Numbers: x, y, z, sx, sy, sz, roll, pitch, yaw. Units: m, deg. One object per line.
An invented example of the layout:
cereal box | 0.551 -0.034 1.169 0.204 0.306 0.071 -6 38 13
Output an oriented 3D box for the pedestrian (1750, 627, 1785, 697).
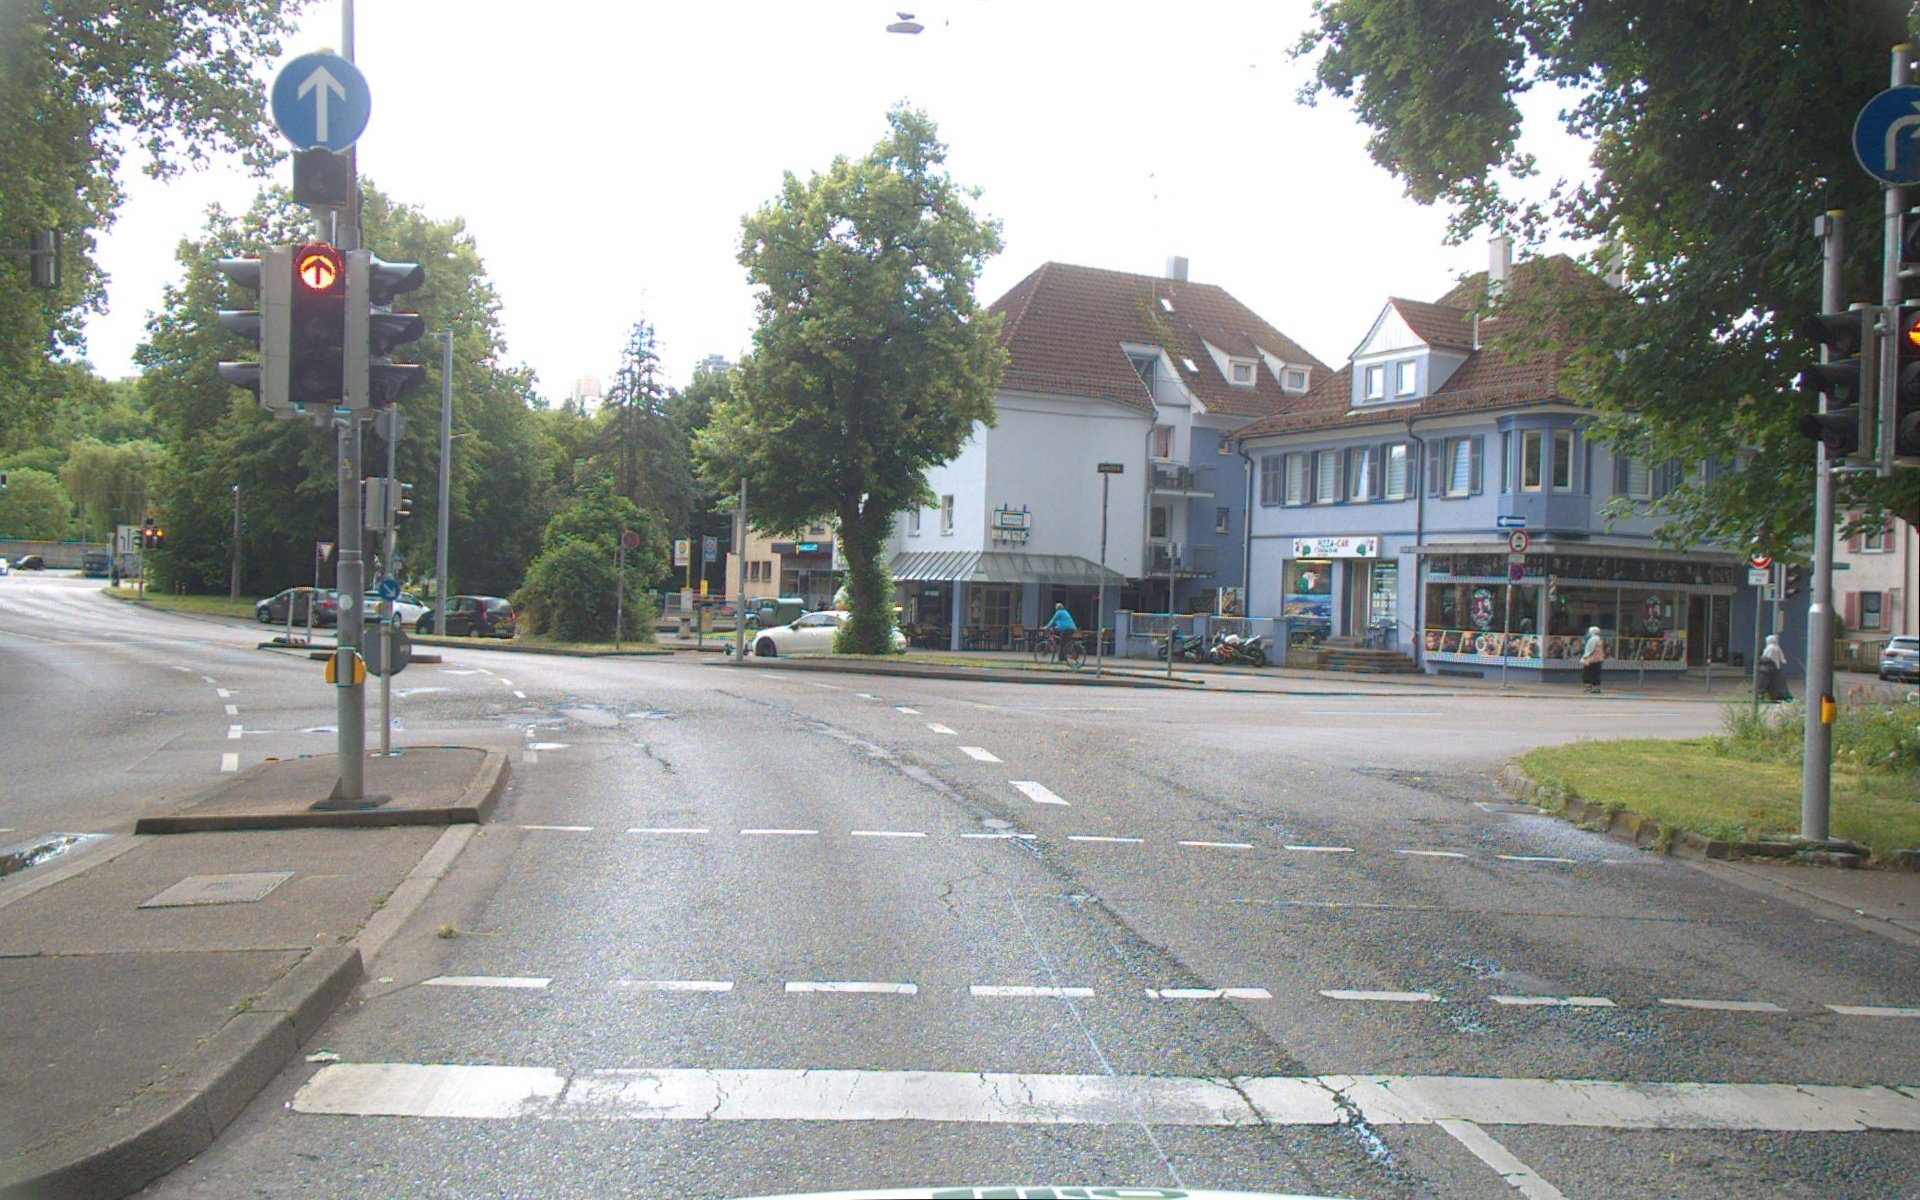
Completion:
pedestrian | 18.903 1.443 38.716 0.681 1.587 0.665 0 -1 30

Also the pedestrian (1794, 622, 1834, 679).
pedestrian | 23.915 1.404 46.302 0.659 1.587 0.743 1 -1 -15

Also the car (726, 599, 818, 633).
car | -8.577 0.729 75.475 3.880 1.467 1.742 1 0 -21

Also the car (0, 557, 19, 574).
car | -88.794 -3.209 153.603 2.971 1.442 1.492 0 -2 41

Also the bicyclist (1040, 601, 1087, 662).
bicyclist | 2.898 0.878 46.267 0.968 1.680 0.915 1 0 34

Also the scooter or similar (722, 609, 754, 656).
scooter or similar | -5.699 0.829 42.503 0.433 1.195 1.439 1 0 8

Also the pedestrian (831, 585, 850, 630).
pedestrian | -4.265 0.271 59.144 0.531 1.587 0.468 0 -1 13

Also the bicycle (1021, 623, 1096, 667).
bicycle | 2.757 1.252 46.345 1.913 1.169 0.873 1 0 36

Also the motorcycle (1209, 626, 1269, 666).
motorcycle | 8.169 1.338 48.454 1.595 1.107 0.625 1 0 32

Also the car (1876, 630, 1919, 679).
car | 29.700 1.686 51.683 1.849 1.415 3.608 1 0 28

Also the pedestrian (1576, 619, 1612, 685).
pedestrian | 15.485 1.259 40.395 0.717 1.587 0.767 0 -1 30

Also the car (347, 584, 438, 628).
car | -22.730 0.256 66.400 1.821 1.668 3.757 1 0 10

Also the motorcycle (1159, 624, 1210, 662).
motorcycle | 6.816 1.286 50.204 1.430 1.107 0.522 1 0 35

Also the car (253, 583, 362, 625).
car | -25.005 0.151 63.417 3.695 1.491 1.622 1 0 18

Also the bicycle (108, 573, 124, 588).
bicycle | -56.367 -1.294 110.474 0.547 0.975 2.024 1 0 -16

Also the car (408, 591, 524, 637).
car | -15.912 0.446 53.258 3.252 1.376 1.778 1 0 27

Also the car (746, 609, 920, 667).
car | -3.530 1.021 45.678 4.618 1.435 1.896 1 0 35

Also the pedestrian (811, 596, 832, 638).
pedestrian | -6.765 0.821 80.715 0.823 2.049 1.052 1 0 -15
